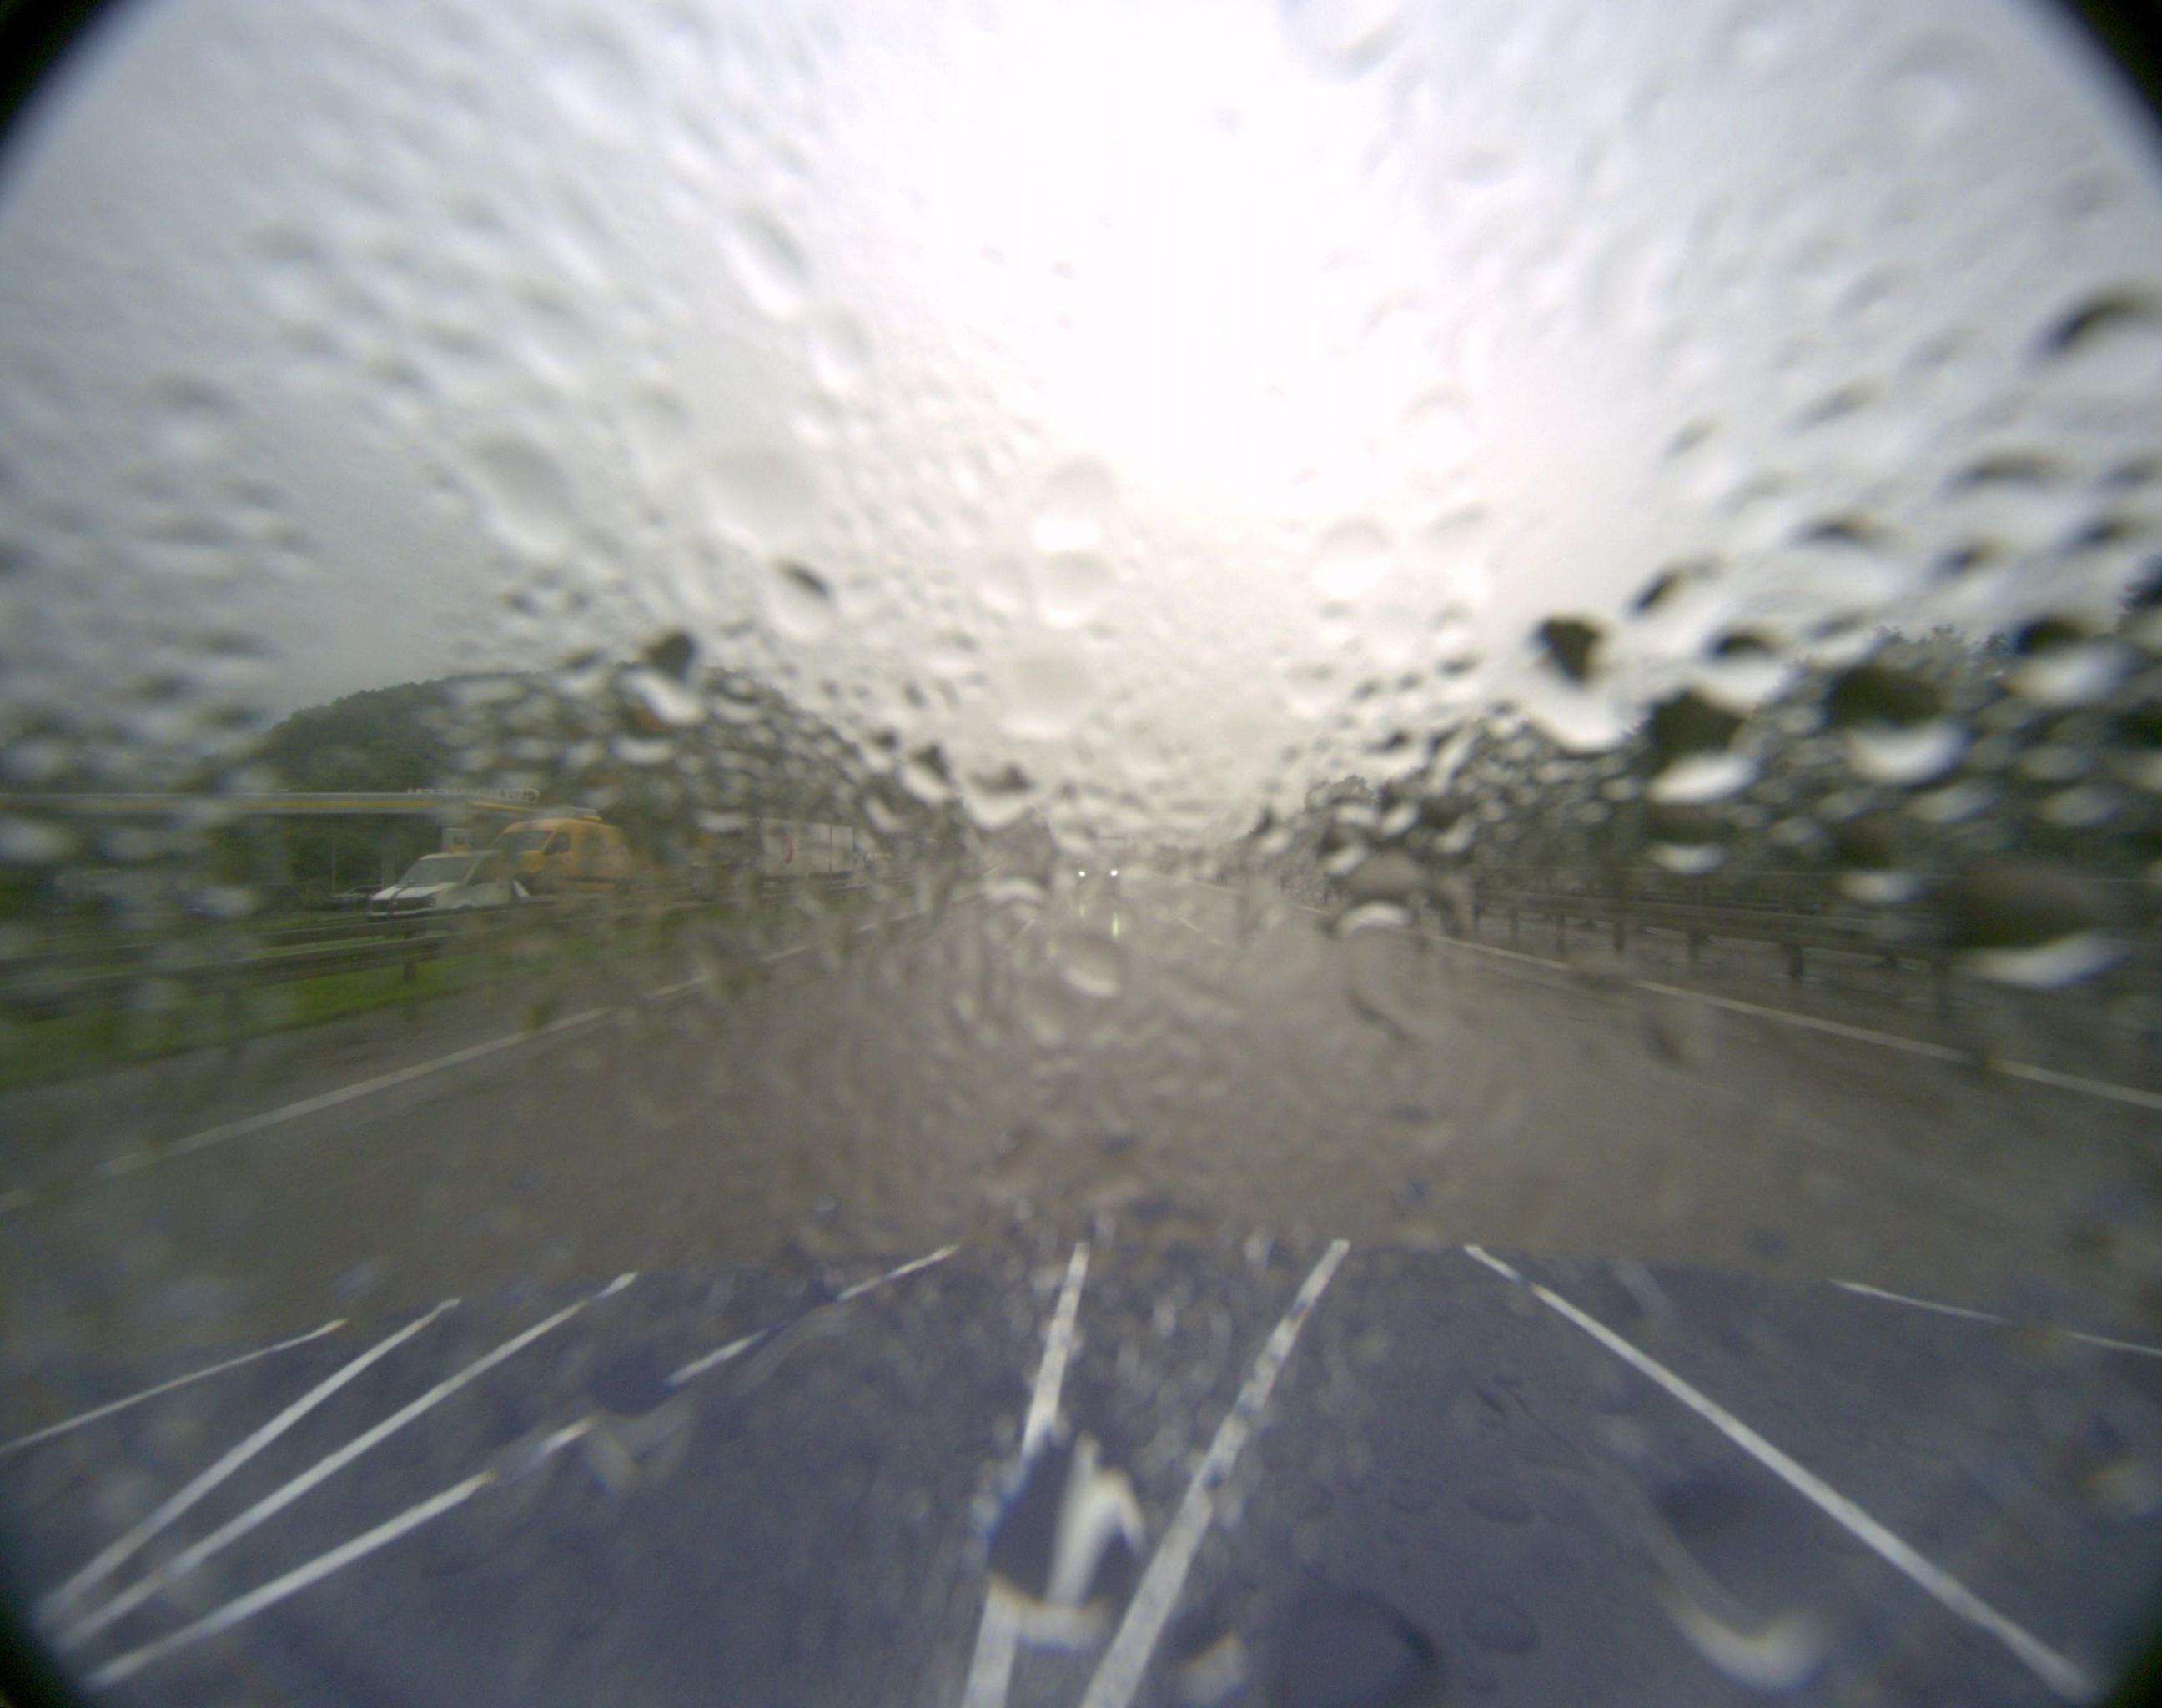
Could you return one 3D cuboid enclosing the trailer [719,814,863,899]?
[{"bbox_3d":[-16.715,0.087,45.267,3.525,4.237,11.920,-2,0,2],"label":"trailer"}]

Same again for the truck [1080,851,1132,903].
[{"bbox_3d":[1.009,0.893,33.105,1.998,2.002,7.575,-1,0,1],"label":"truck"}]

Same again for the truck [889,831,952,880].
[{"bbox_3d":[-15.666,0.147,75.321,3.409,4.376,11.049,-3,0,1],"label":"truck"}]

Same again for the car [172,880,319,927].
[{"bbox_3d":[-42.510,2.454,38.867,1.998,2.002,4.901,-2,0,0],"label":"car"}]

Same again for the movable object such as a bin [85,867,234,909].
[{"bbox_3d":[-55.749,2.010,46.210,1.998,2.176,5.724,-2,0,0],"label":"movable object such as a bin"}]

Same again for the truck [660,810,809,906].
[{"bbox_3d":[-16.978,0.143,38.056,3.536,4.195,7.816,-2,1,1],"label":"truck"}]

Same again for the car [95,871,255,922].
[{"bbox_3d":[-45.488,2.081,38.361,2.086,2.169,4.892,-2,0,0],"label":"car"}]

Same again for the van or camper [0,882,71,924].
[{"bbox_3d":[-55.924,2.580,39.258,1.998,2.002,4.000,-2,0,0],"label":"van or camper"}]

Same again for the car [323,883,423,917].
[{"bbox_3d":[-42.506,2.702,45.755,1.998,1.688,4.098,-2,0,3],"label":"car"}]

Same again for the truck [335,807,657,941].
[{"bbox_3d":[-16.537,0.449,22.692,2.296,3.129,8.864,-2,0,3],"label":"truck"}]

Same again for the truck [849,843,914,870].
[{"bbox_3d":[-34.352,0.367,131.481,2.872,4.232,11.894,-2,1,33],"label":"truck"}]
